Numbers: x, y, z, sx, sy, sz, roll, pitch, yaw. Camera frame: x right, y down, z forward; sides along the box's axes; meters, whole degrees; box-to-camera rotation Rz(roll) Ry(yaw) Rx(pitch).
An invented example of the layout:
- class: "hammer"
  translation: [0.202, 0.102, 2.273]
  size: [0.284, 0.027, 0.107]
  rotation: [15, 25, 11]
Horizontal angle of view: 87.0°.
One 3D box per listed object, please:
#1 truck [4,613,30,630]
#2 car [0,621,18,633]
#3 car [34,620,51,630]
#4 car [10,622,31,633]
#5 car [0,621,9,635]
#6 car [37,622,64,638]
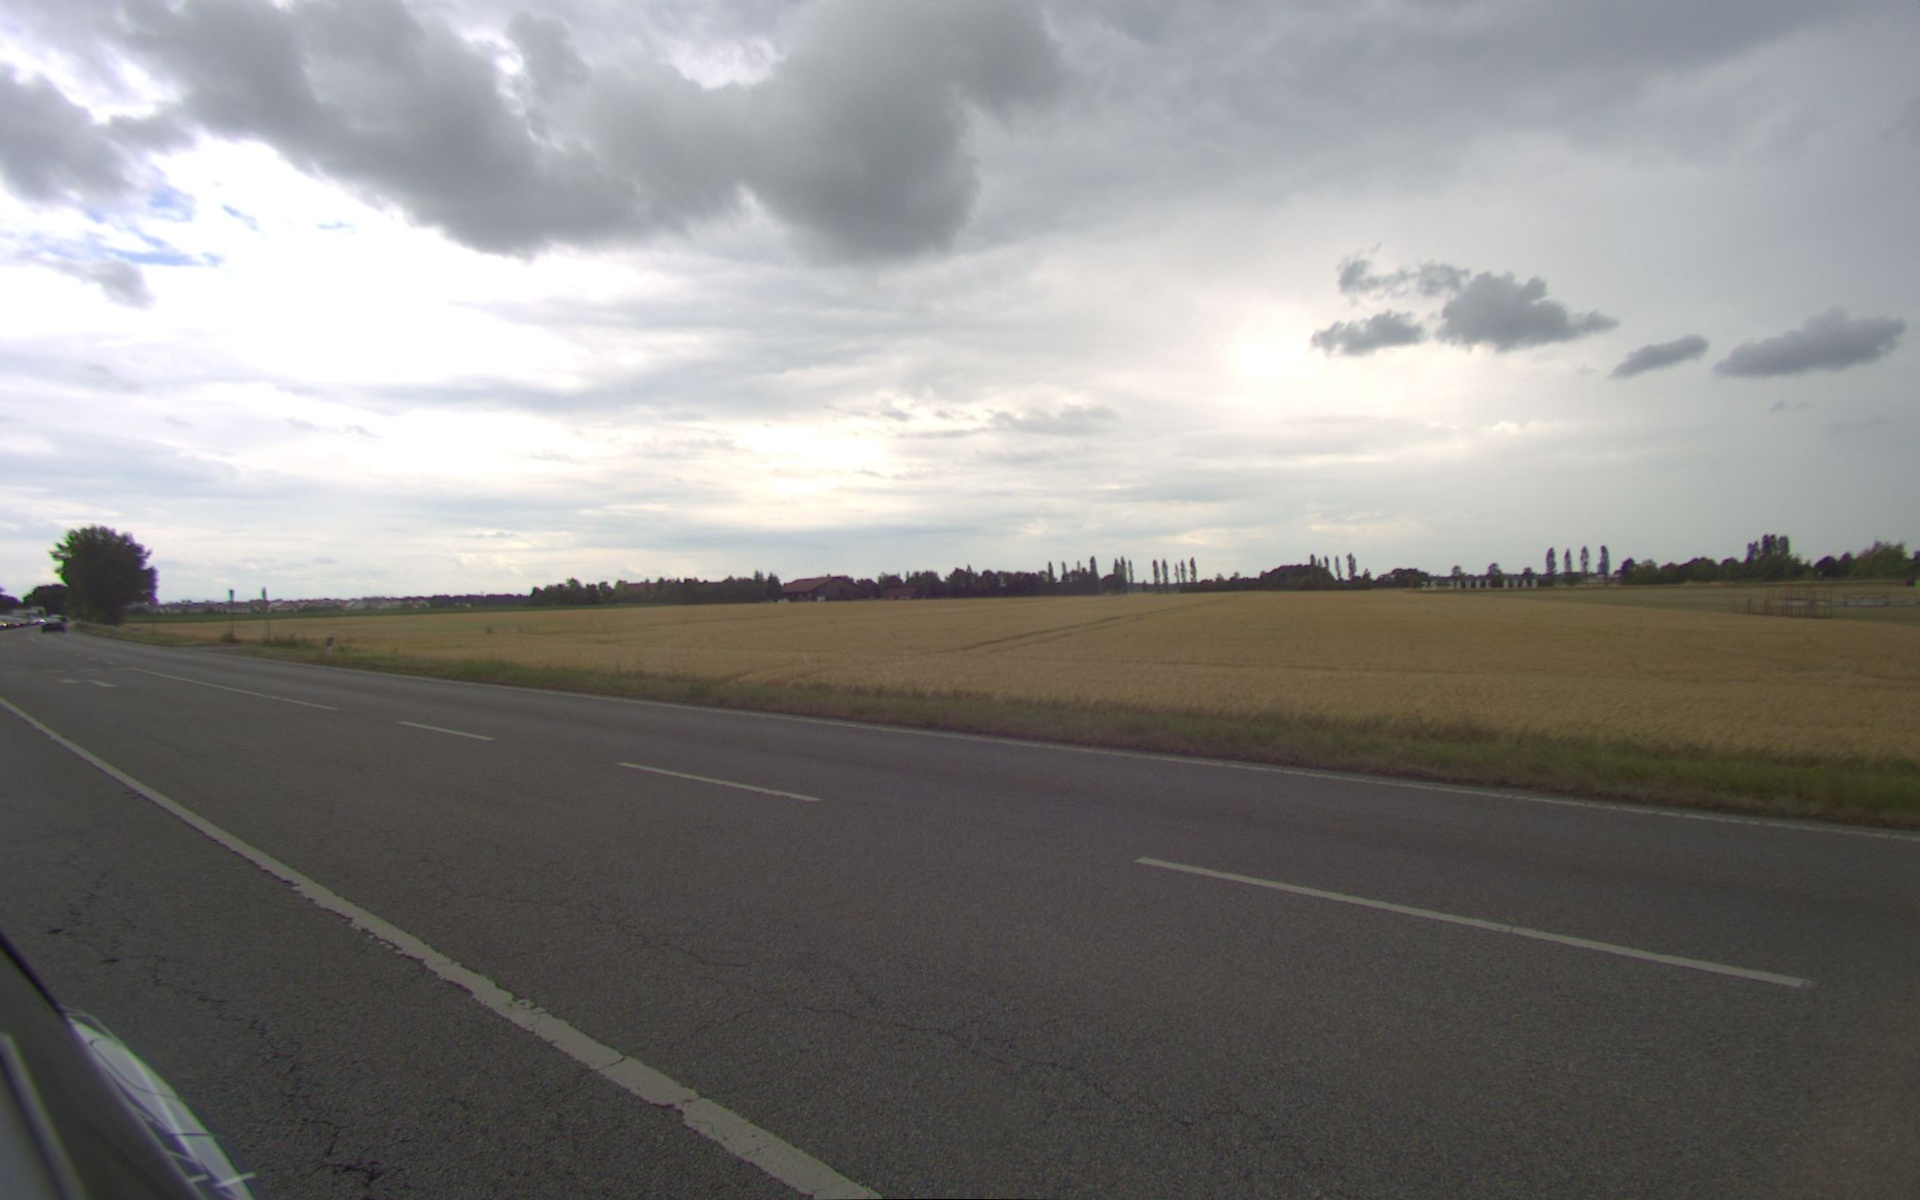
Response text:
- class: "truck"
  translation: [-152.958, 3.466, 164.129]
  size: [2.284, 2.786, 7.689]
  rotation: [-1, 0, -37]
- class: "car"
  translation: [-123.204, 3.491, 130.737]
  size: [1.766, 1.595, 4.145]
  rotation: [0, -1, -37]
- class: "car"
  translation: [-155.107, 4.238, 171.115]
  size: [1.923, 1.707, 4.453]
  rotation: [0, -1, -41]
- class: "car"
  translation: [-136.310, 3.942, 146.878]
  size: [1.766, 1.551, 4.146]
  rotation: [0, -1, -37]
- class: "car"
  translation: [-112.710, 3.312, 118.377]
  size: [1.766, 1.595, 4.144]
  rotation: [0, -1, -39]
- class: "car"
  translation: [-88.691, 2.933, 98.762]
  size: [1.804, 1.421, 4.431]
  rotation: [-3, 1, -41]
